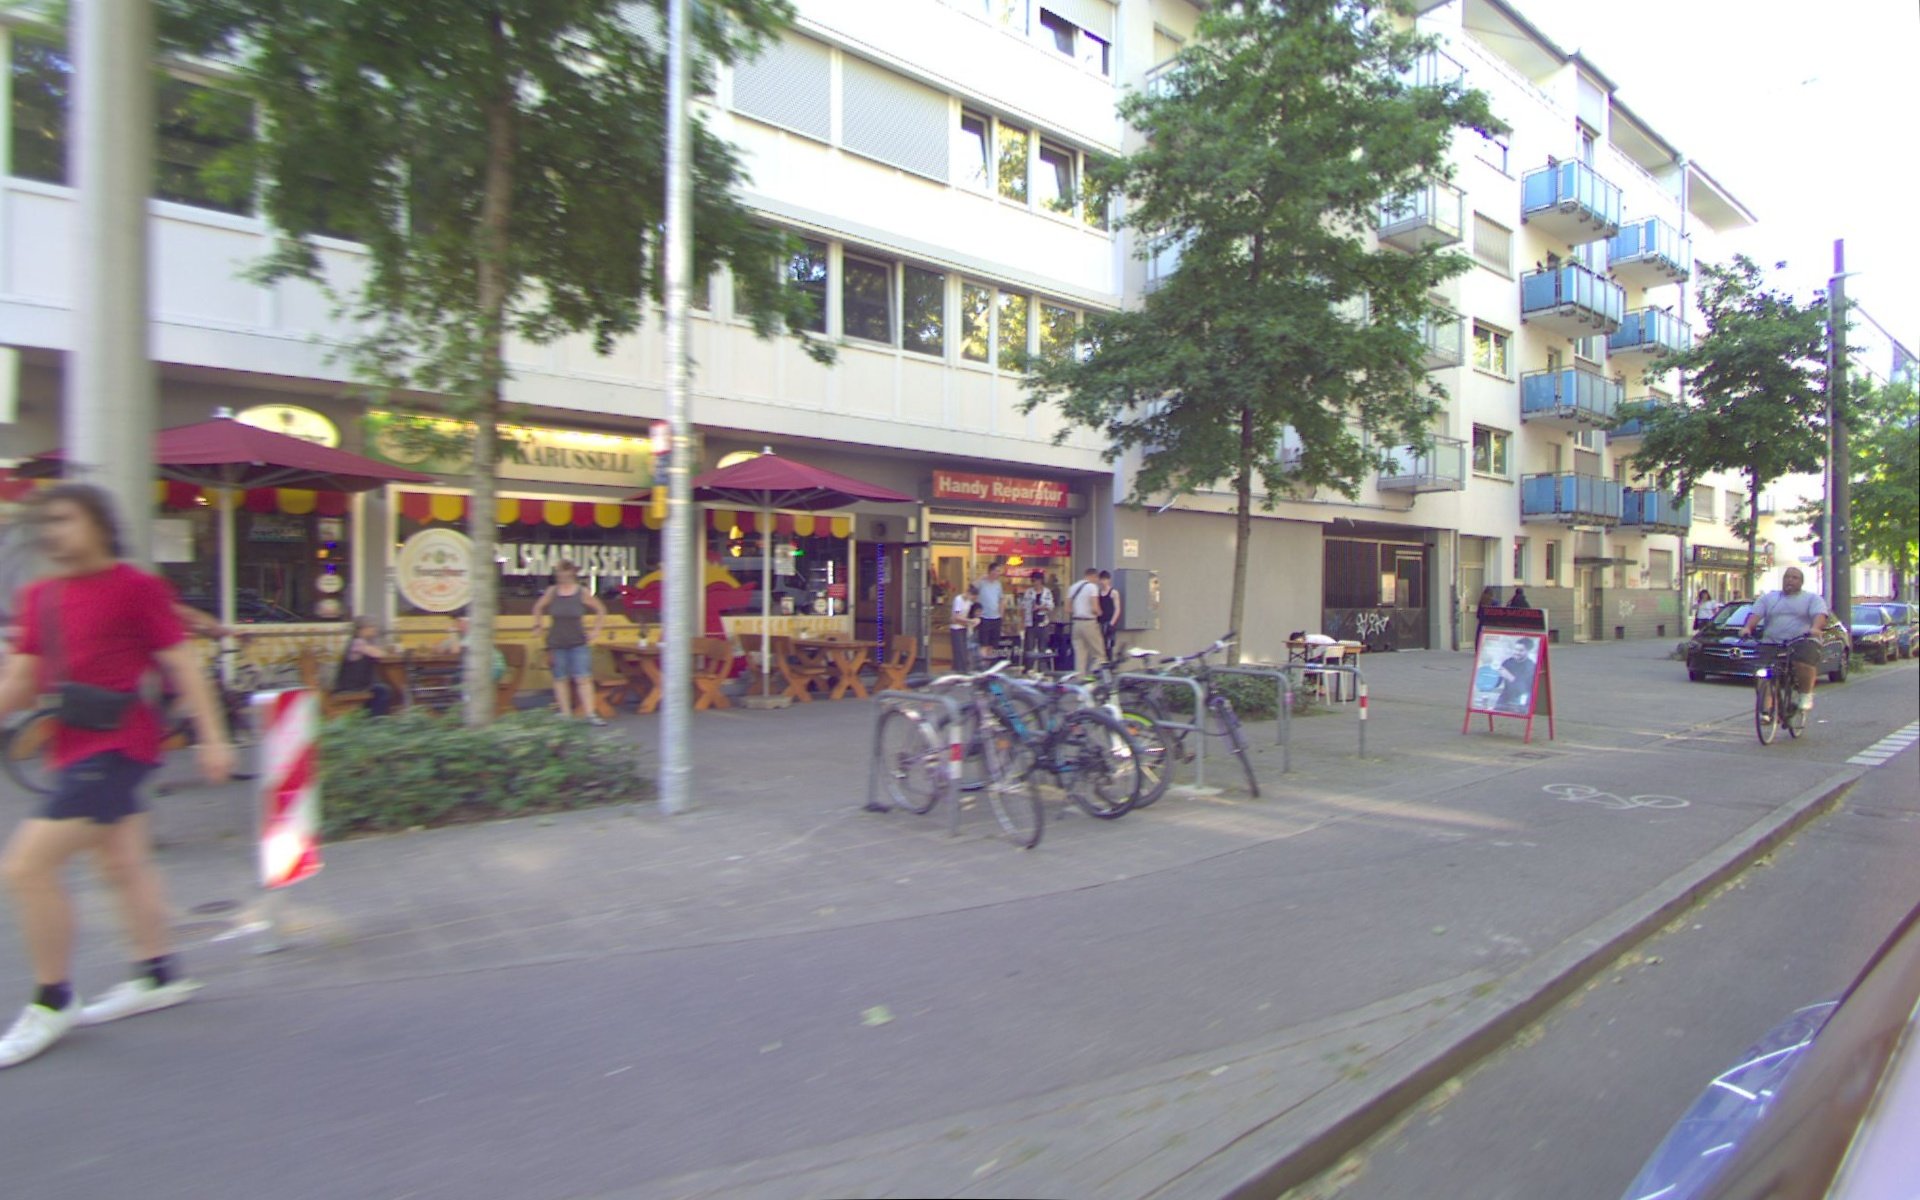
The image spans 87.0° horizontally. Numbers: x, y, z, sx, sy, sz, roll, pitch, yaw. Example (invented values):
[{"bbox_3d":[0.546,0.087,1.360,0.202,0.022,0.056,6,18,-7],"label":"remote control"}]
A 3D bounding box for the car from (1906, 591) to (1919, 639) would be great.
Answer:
[{"bbox_3d":[34.050,0.511,34.929,4.188,1.590,1.722,-1,3,-43],"label":"car"}]

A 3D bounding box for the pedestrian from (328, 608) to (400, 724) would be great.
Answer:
[{"bbox_3d":[-5.880,0.627,9.977,0.513,1.092,0.643,0,-1,-40],"label":"pedestrian"}]

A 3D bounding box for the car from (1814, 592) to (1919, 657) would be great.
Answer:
[{"bbox_3d":[23.511,0.589,26.179,3.822,1.500,1.625,0,2,-42],"label":"car"}]

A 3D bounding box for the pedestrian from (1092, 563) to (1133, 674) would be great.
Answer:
[{"bbox_3d":[2.545,0.305,16.899,0.480,1.819,0.432,0,-1,-40],"label":"pedestrian"}]

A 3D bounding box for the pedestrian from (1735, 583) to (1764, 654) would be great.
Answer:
[{"bbox_3d":[21.137,0.482,27.096,0.652,1.875,0.476,0,-1,-42],"label":"pedestrian"}]

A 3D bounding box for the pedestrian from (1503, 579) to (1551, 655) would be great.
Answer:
[{"bbox_3d":[12.813,0.374,22.858,0.854,1.658,0.643,0,2,-41],"label":"pedestrian"}]

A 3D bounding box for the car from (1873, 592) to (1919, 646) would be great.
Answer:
[{"bbox_3d":[29.665,0.575,31.075,4.054,1.556,1.791,0,2,-40],"label":"car"}]

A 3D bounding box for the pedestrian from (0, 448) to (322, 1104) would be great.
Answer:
[{"bbox_3d":[-2.820,0.481,3.277,0.861,1.780,1.048,-1,-1,-2],"label":"pedestrian"}]

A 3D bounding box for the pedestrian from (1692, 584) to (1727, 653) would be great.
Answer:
[{"bbox_3d":[20.650,0.509,27.875,0.530,1.875,0.663,0,-1,-40],"label":"pedestrian"}]

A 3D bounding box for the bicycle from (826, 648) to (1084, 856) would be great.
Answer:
[{"bbox_3d":[-0.099,0.820,6.047,0.473,1.007,1.818,0,-1,-41],"label":"bicycle"}]

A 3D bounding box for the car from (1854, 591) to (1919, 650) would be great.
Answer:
[{"bbox_3d":[26.586,0.553,28.646,2.829,1.556,1.448,0,2,-40],"label":"car"}]

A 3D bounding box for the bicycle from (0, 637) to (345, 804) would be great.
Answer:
[{"bbox_3d":[-5.567,0.795,7.204,1.984,0.975,0.679,-1,0,-37],"label":"bicycle"}]

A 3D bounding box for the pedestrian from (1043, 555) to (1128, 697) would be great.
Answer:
[{"bbox_3d":[1.660,0.328,13.402,0.978,1.807,0.591,0,-1,-40],"label":"pedestrian"}]

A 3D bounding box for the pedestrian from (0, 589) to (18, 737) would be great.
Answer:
[{"bbox_3d":[-8.817,0.560,8.919,0.702,1.304,0.537,0,-1,-37],"label":"pedestrian"}]

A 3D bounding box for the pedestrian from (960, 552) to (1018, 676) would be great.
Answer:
[{"bbox_3d":[0.478,0.214,16.537,0.776,1.979,0.508,-1,-1,-29],"label":"pedestrian"}]

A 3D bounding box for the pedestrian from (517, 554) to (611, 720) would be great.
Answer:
[{"bbox_3d":[-4.175,0.374,10.719,0.666,1.680,0.814,-1,-1,0],"label":"pedestrian"}]

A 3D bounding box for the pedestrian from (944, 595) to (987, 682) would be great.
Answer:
[{"bbox_3d":[0.089,0.578,15.427,0.501,1.292,0.623,-1,-1,14],"label":"pedestrian"}]

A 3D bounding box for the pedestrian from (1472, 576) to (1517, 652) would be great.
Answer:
[{"bbox_3d":[12.349,0.300,23.383,0.918,1.698,0.597,0,2,-41],"label":"pedestrian"}]

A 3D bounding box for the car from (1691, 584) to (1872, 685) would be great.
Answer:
[{"bbox_3d":[15.526,0.550,19.056,4.252,1.607,1.763,-1,4,-40],"label":"car"}]

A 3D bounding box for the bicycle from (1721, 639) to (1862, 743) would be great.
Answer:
[{"bbox_3d":[9.037,0.937,10.974,1.904,0.949,0.790,-1,0,-39],"label":"bicycle"}]

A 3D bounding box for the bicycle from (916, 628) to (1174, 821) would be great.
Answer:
[{"bbox_3d":[0.513,0.757,6.787,1.815,1.114,0.490,-1,-1,44],"label":"bicycle"}]

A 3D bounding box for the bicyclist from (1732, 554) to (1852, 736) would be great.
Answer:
[{"bbox_3d":[9.030,0.456,10.983,1.079,1.854,0.769,0,-1,-39],"label":"bicyclist"}]

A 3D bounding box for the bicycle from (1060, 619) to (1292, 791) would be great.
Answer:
[{"bbox_3d":[1.590,0.728,7.739,0.516,1.114,1.819,0,1,-39],"label":"bicycle"}]

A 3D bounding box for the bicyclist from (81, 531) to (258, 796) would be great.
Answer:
[{"bbox_3d":[-5.585,0.412,7.201,0.947,1.739,0.679,0,-1,-37],"label":"bicyclist"}]

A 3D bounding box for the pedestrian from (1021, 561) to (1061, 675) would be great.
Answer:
[{"bbox_3d":[1.324,0.291,16.634,0.620,1.828,0.526,-1,-1,5],"label":"pedestrian"}]

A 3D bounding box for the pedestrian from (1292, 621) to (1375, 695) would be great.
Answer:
[{"bbox_3d":[5.510,0.835,14.937,0.996,1.040,0.652,-1,-1,38],"label":"pedestrian"}]

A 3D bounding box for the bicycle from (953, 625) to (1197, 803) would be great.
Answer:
[{"bbox_3d":[0.772,0.747,7.285,1.815,1.114,0.474,-1,-1,44],"label":"bicycle"}]

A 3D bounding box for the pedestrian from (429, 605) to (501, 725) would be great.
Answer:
[{"bbox_3d":[-5.140,0.654,10.503,0.513,1.190,0.660,0,-1,-40],"label":"pedestrian"}]

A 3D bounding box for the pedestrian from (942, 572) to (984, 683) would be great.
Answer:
[{"bbox_3d":[0.050,0.408,15.291,0.500,1.649,0.516,-1,-1,14],"label":"pedestrian"}]
